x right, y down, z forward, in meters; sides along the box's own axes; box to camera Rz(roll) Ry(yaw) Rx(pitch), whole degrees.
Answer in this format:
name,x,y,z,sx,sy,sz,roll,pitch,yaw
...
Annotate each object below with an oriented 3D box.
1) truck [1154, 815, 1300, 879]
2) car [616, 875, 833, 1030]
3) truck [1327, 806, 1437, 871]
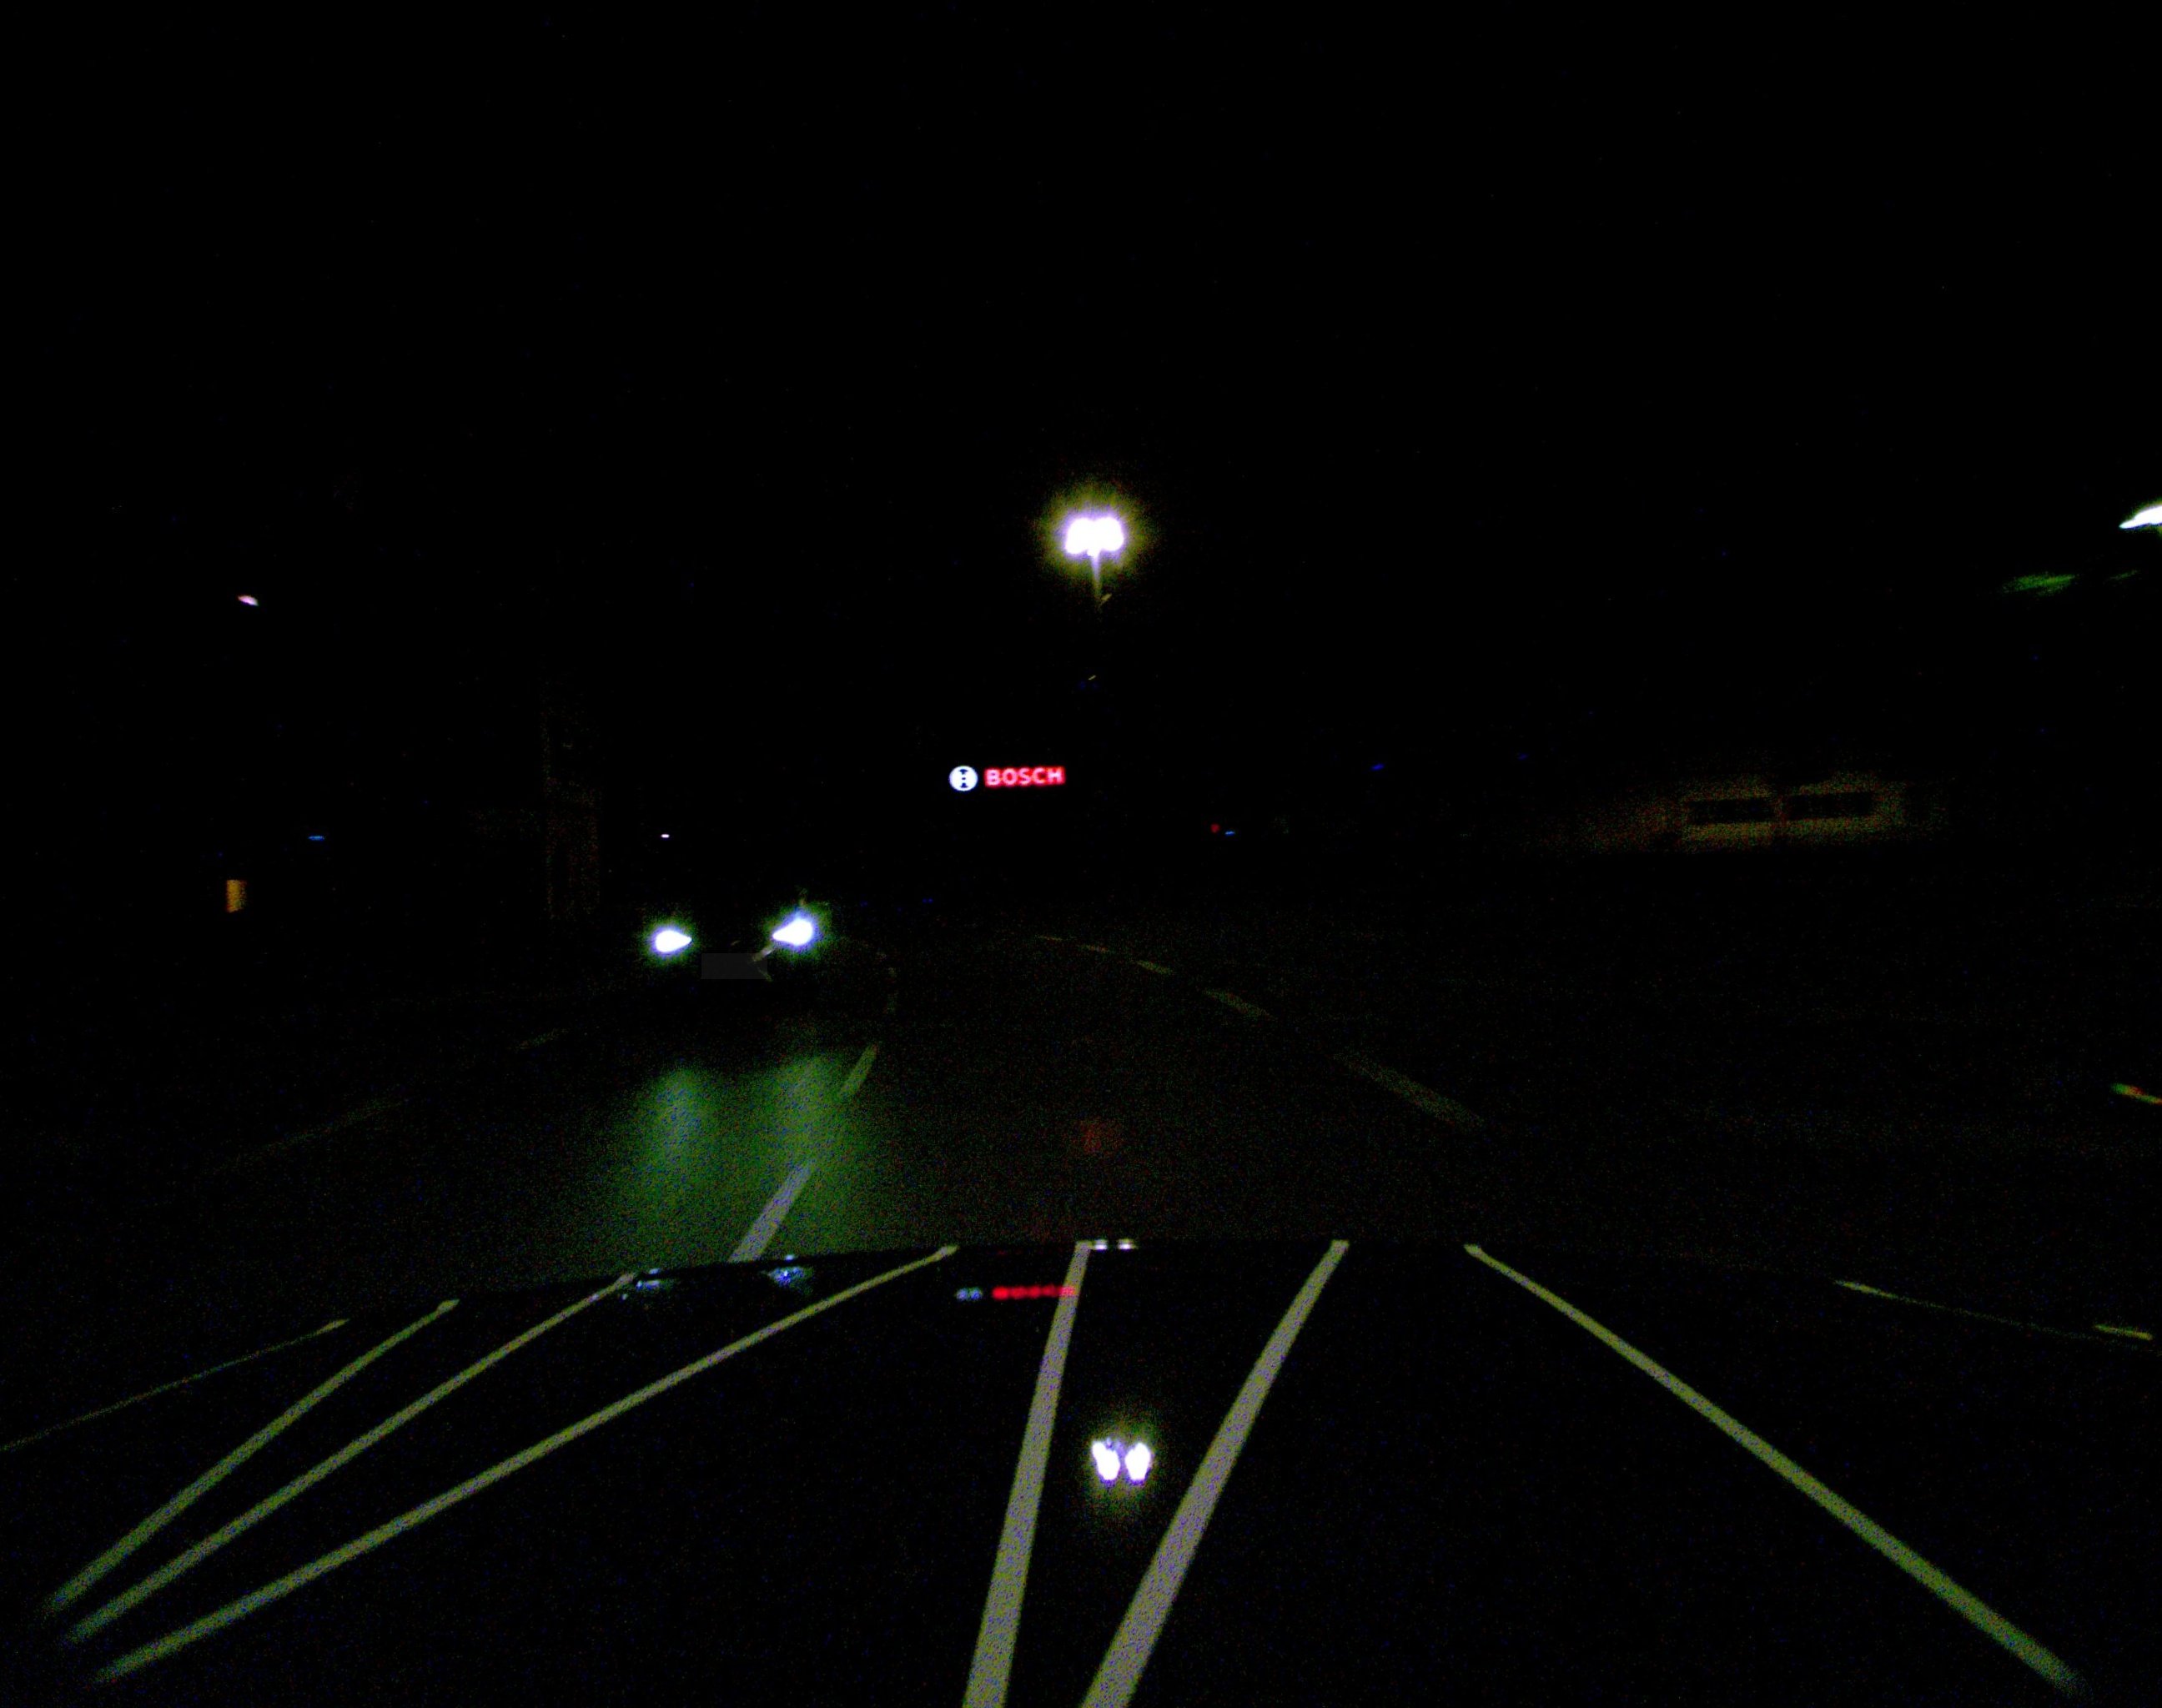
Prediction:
name,x,y,z,sx,sy,sz,roll,pitch,yaw
truck,9.877,-0.433,51.665,9.338,3.700,2.003,-3,0,22
car,-4.650,1.147,10.588,2.001,1.606,3.995,-3,-1,-15
truck,19.087,-0.934,48.514,6.194,3.672,2.404,-4,0,19
